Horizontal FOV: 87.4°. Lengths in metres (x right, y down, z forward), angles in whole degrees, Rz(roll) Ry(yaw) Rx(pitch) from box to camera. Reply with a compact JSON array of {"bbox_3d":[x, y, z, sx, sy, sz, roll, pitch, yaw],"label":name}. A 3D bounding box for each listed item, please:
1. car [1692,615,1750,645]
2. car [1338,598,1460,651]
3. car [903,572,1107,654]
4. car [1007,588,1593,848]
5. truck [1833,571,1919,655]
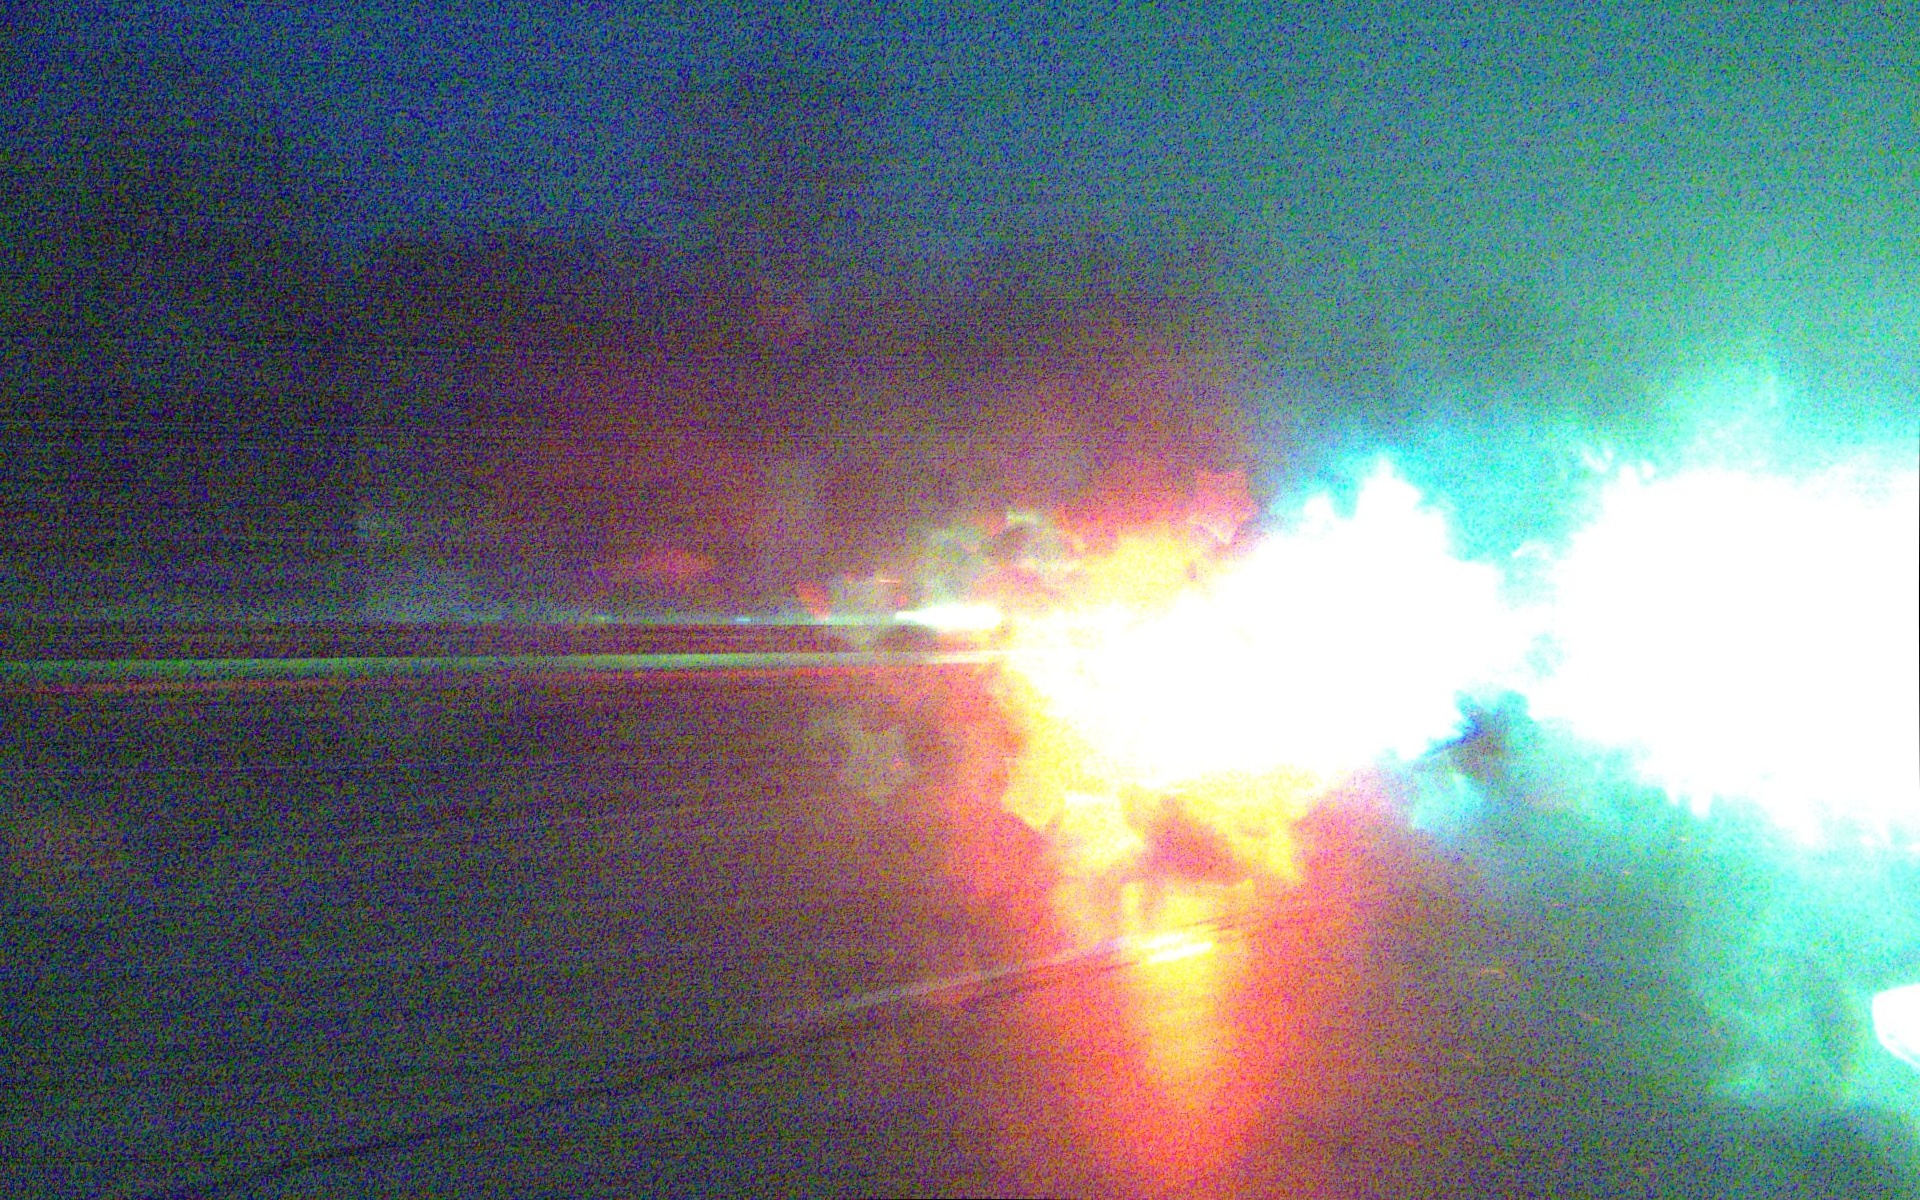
[{"bbox_3d":[48.105,1.928,63.453,3.965,1.751,1.978,2,0,-38],"label":"car"},{"bbox_3d":[15.085,0.851,34.451,4.289,1.669,1.830,2,0,-34],"label":"car"},{"bbox_3d":[1.013,0.238,21.914,4.150,1.633,1.799,0,1,-31],"label":"car"},{"bbox_3d":[2.886,0.760,8.067,4.860,1.537,1.758,2,1,-32],"label":"car"},{"bbox_3d":[51.607,0.774,56.414,5.796,4.463,2.546,2,1,-36],"label":"truck"}]
